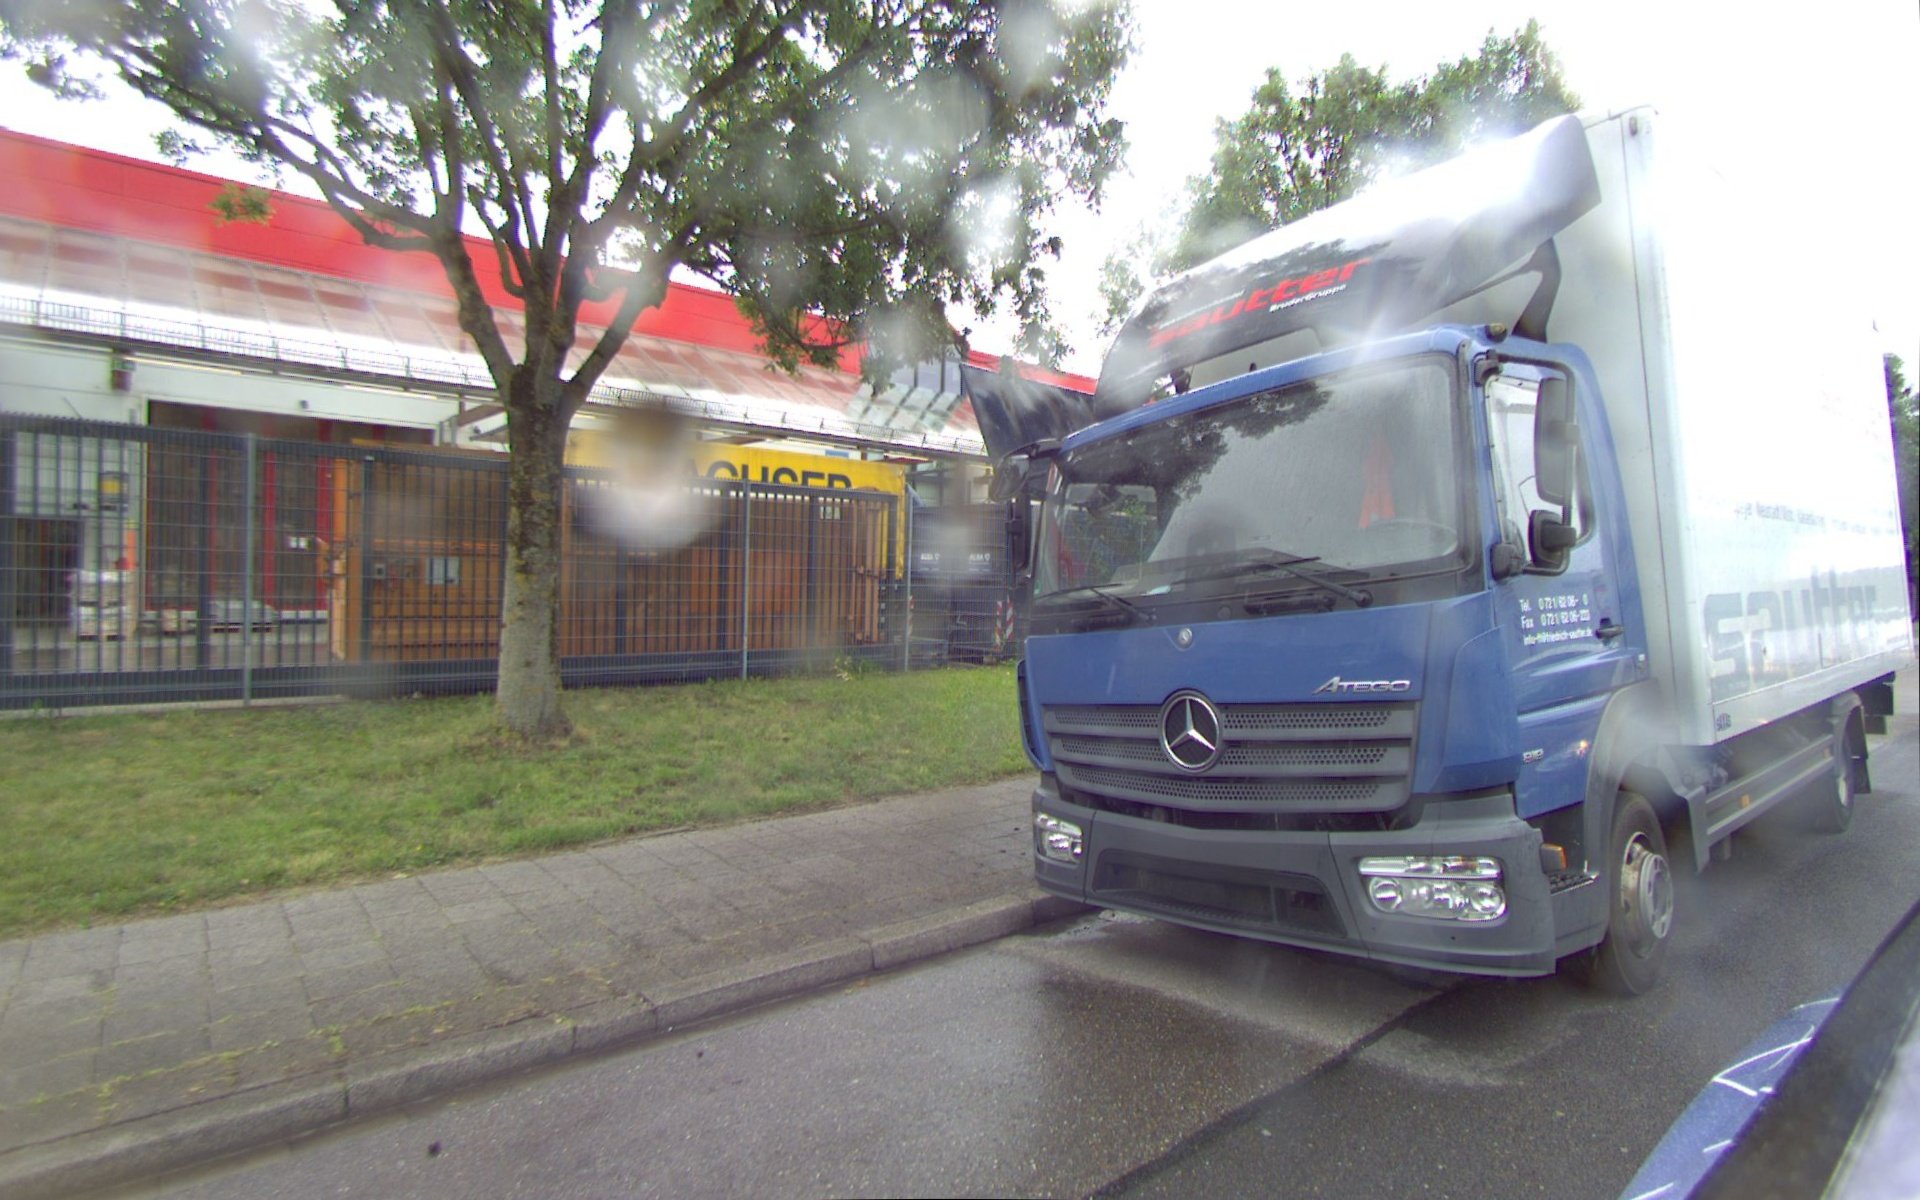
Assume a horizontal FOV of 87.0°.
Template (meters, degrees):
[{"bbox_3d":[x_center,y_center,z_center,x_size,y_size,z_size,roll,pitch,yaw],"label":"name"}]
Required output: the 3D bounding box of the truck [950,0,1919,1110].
[{"bbox_3d":[3.820,-0.395,6.501,7.867,3.740,2.676,0,-2,-40],"label":"truck"}]

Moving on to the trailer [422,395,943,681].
[{"bbox_3d":[-4.844,-1.062,19.440,9.306,4.295,2.972,-1,2,-41],"label":"trailer"}]
